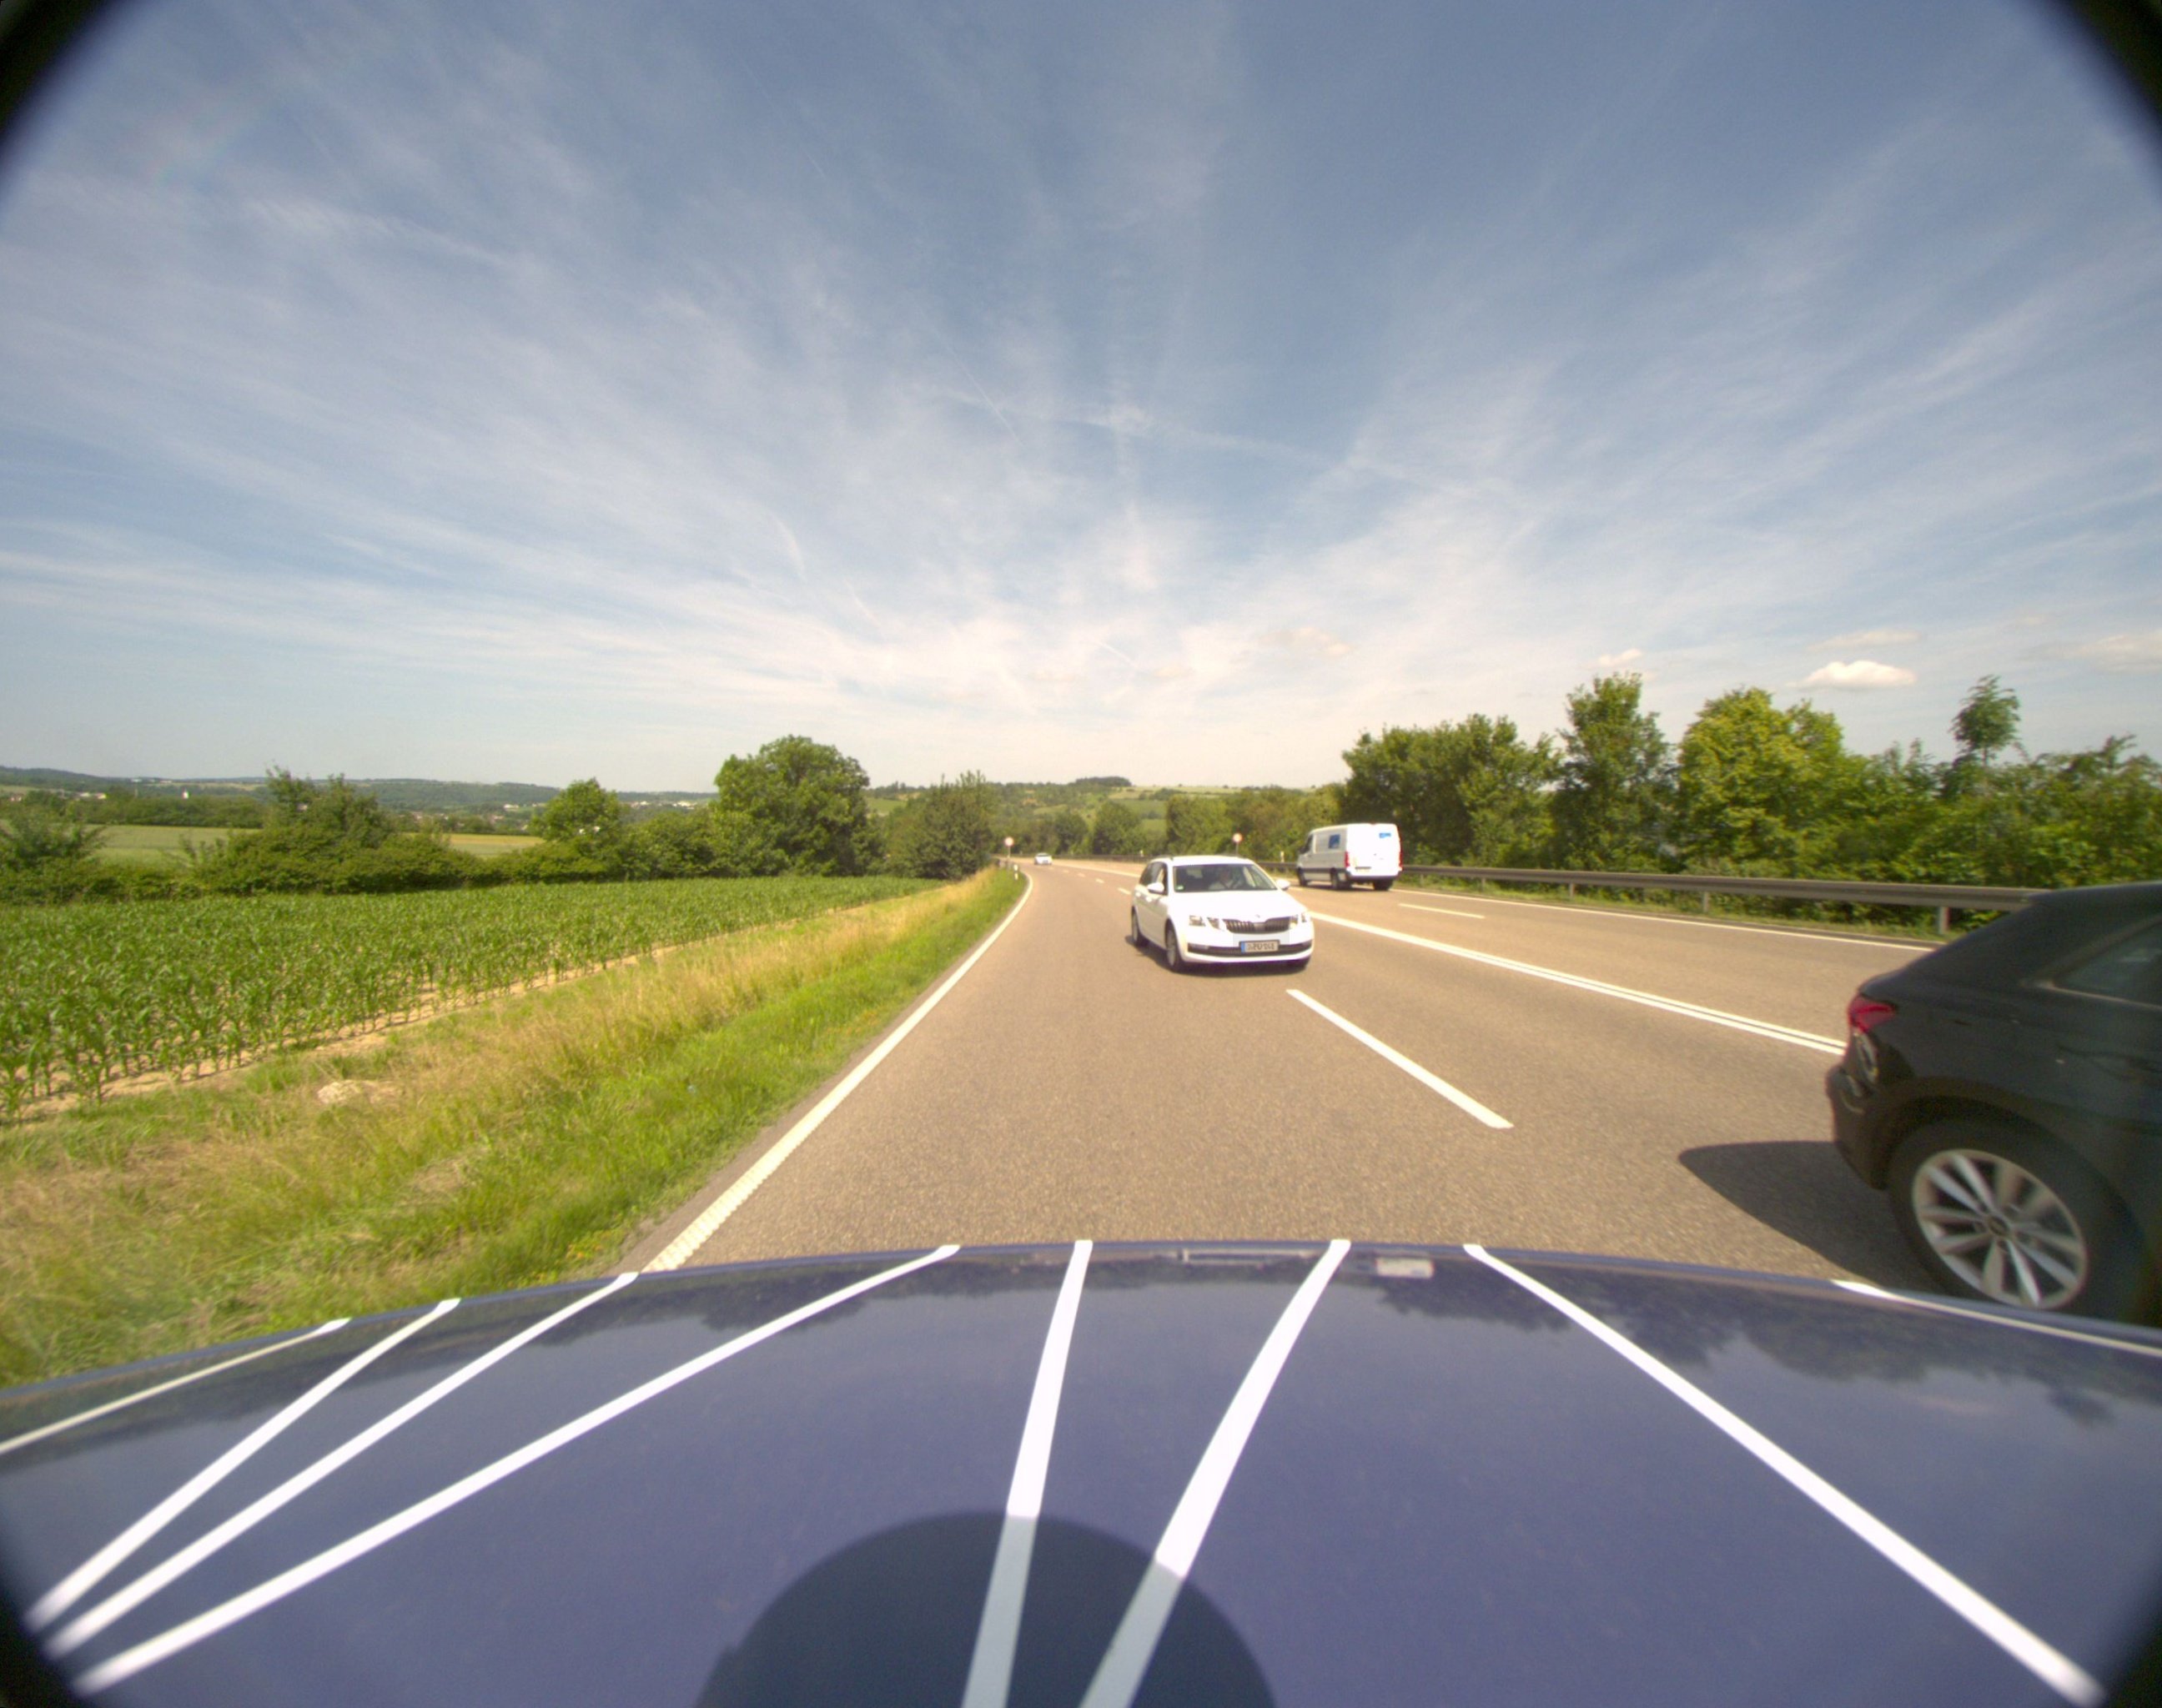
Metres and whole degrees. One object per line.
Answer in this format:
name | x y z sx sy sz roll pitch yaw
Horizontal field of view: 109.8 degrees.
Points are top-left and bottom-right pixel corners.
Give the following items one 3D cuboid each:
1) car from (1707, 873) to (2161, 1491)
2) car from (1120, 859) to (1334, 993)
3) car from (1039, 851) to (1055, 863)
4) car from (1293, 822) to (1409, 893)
car | 3.549 0.862 0.877 1.709 1.464 4.810 -1 1 0
car | 1.832 0.845 11.200 1.826 1.463 4.786 -2 0 -5
car | -4.212 0.349 94.536 1.708 1.368 4.600 -1 0 -6
car | 10.030 0.093 28.876 2.094 2.381 5.842 -1 1 -3
